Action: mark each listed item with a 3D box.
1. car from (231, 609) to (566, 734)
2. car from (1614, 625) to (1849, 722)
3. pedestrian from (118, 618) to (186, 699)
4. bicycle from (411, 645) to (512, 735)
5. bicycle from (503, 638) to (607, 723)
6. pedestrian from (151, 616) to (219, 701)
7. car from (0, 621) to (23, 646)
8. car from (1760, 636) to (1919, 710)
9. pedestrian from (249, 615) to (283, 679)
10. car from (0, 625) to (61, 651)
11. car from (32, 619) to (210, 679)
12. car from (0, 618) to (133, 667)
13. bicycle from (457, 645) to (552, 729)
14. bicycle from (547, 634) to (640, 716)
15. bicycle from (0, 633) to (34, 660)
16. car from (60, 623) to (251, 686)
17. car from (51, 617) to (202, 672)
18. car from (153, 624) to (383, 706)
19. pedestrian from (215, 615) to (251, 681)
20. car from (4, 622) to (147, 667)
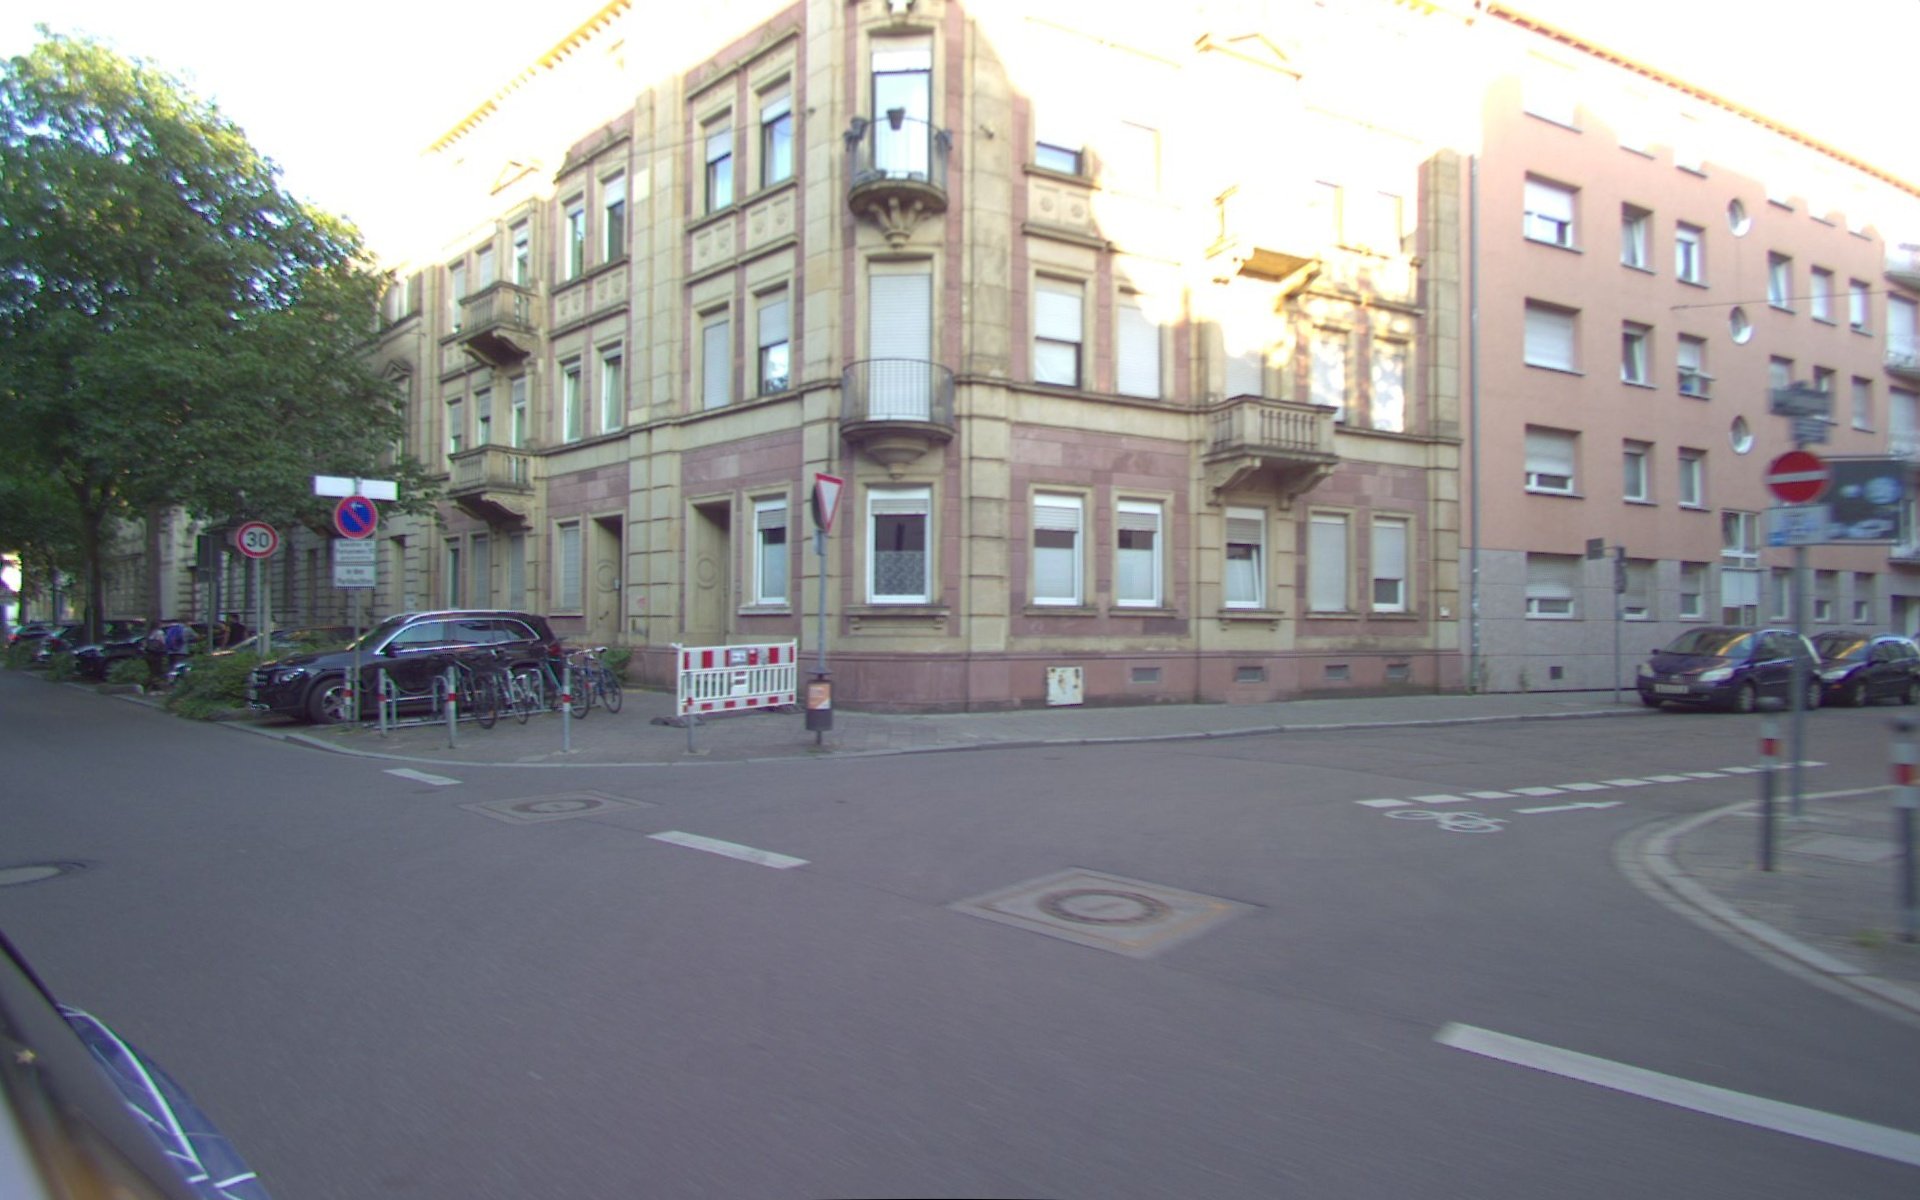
[{"bbox_3d":[-8.955,1.048,16.420,1.872,1.663,4.378,-2,-1,42],"label":"car"},{"bbox_3d":[14.989,1.342,19.660,4.074,1.603,2.007,1,1,-26],"label":"car"},{"bbox_3d":[-17.317,1.243,21.701,0.784,1.683,0.832,1,-2,-7],"label":"pedestrian"},{"bbox_3d":[-6.925,1.218,14.032,1.860,1.067,0.517,1,2,40],"label":"bicycle"},{"bbox_3d":[-6.041,1.163,15.045,1.861,1.070,0.661,1,3,42],"label":"bicycle"},{"bbox_3d":[-16.431,1.230,21.485,0.784,1.750,0.832,1,-2,-7],"label":"pedestrian"},{"bbox_3d":[-60.797,2.097,62.598,1.827,1.569,4.123,-2,-1,44],"label":"car"},{"bbox_3d":[19.464,1.515,21.895,3.940,1.358,1.844,1,1,-26],"label":"car"},{"bbox_3d":[-19.489,1.314,28.419,0.725,1.752,0.672,0,-1,-42],"label":"pedestrian"},{"bbox_3d":[-52.843,2.091,56.031,1.916,1.401,4.464,-1,-1,42],"label":"car"},{"bbox_3d":[-26.839,1.518,32.457,1.907,1.684,4.157,-2,-1,42],"label":"car"},{"bbox_3d":[-36.146,1.660,40.914,1.780,1.608,3.924,-1,2,42],"label":"car"},{"bbox_3d":[-6.548,1.212,14.508,1.861,1.027,0.517,1,2,42],"label":"bicycle"},{"bbox_3d":[-5.669,1.123,15.607,1.861,1.116,0.511,1,2,42],"label":"bicycle"},{"bbox_3d":[-45.071,2.194,47.939,1.750,1.241,0.500,1,0,-43],"label":"bicycle"},{"bbox_3d":[-22.014,1.429,27.779,1.908,1.544,3.901,-1,-1,44],"label":"car"},{"bbox_3d":[-28.412,1.479,34.571,1.713,1.684,3.762,-2,-1,40],"label":"car"},{"bbox_3d":[-14.501,1.301,21.344,1.871,1.469,3.654,-2,-1,41],"label":"car"},{"bbox_3d":[-19.798,1.294,27.541,0.725,1.752,0.672,0,-1,-42],"label":"pedestrian"},{"bbox_3d":[-33.598,1.660,38.511,1.764,1.397,3.923,-3,1,42],"label":"car"}]
